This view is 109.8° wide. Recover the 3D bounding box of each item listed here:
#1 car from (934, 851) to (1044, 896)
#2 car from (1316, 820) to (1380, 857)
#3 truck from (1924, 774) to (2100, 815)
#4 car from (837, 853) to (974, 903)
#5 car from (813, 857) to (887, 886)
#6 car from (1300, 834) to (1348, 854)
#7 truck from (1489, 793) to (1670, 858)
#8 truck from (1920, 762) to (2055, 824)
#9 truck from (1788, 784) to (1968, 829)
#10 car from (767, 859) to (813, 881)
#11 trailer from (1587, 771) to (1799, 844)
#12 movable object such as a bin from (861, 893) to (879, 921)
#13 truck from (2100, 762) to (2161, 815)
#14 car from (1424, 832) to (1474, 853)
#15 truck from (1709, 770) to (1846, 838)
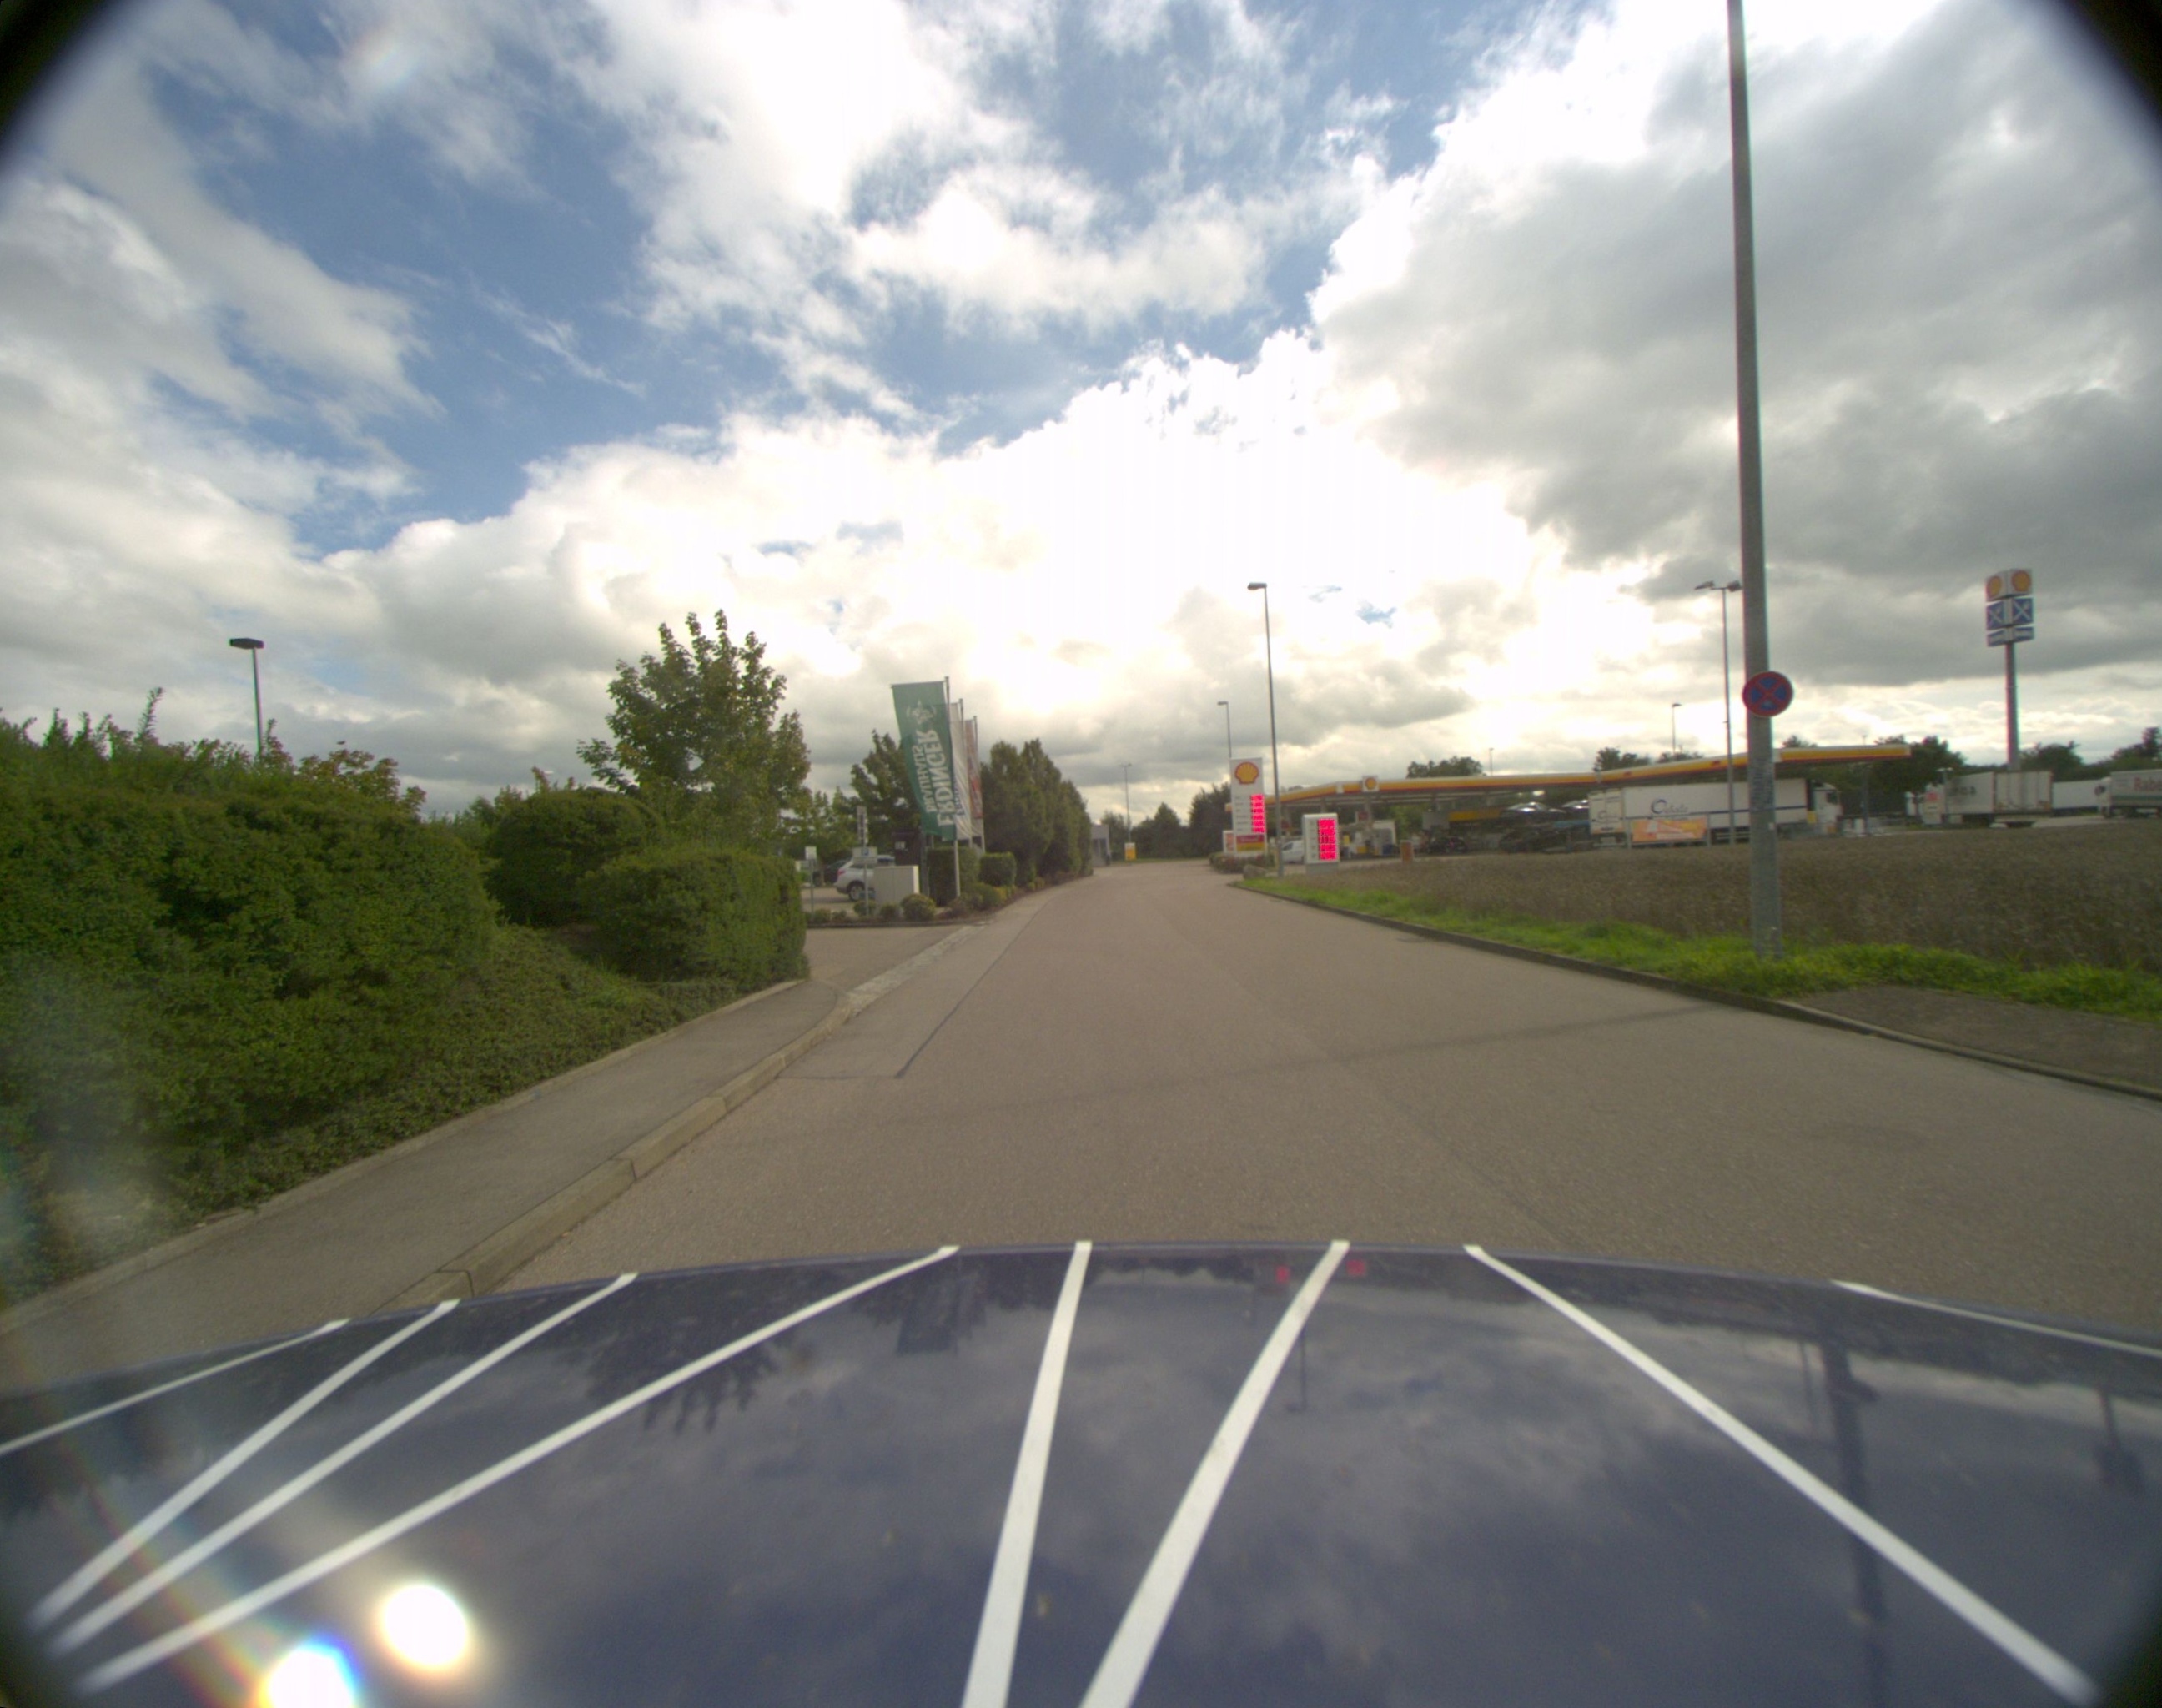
[{"bbox_3d":[-3.951,0.822,32.932,4.358,1.706,1.658,-3,0,8],"label":"car"},{"bbox_3d":[21.726,-1.278,61.794,5.819,2.770,2.219,-3,0,-41],"label":"car"},{"bbox_3d":[108.684,-6.851,89.137,12.774,3.871,2.829,-2,2,35],"label":"truck"},{"bbox_3d":[-6.712,0.908,29.231,4.672,1.687,1.920,-2,1,12],"label":"car"},{"bbox_3d":[-15.501,1.183,51.096,4.358,1.706,1.658,-3,0,8],"label":"car"},{"bbox_3d":[21.042,-0.887,65.765,3.967,1.550,1.995,-3,0,-37],"label":"car"},{"bbox_3d":[35.016,-2.061,53.203,13.266,3.901,2.748,-3,2,-17],"label":"truck"},{"bbox_3d":[68.817,-4.487,58.197,2.955,4.089,14.774,-2,2,35],"label":"truck"},{"bbox_3d":[84.693,-4.947,81.298,12.978,3.871,2.829,-2,2,36],"label":"truck"},{"bbox_3d":[-24.574,1.337,64.341,1.720,1.605,4.002,-3,0,9],"label":"car"},{"bbox_3d":[39.335,-2.962,48.875,12.848,4.001,2.710,-3,0,-10],"label":"trailer"},{"bbox_3d":[-5.461,1.376,19.688,0.288,0.680,0.368,-3,1,12],"label":"movable object such as a bin"},{"bbox_3d":[89.372,-5.431,63.006,2.986,4.086,11.596,-3,0,40],"label":"truck"},{"bbox_3d":[30.869,-0.959,63.834,1.717,1.592,3.757,-3,0,-13],"label":"car"},{"bbox_3d":[45.725,-3.255,49.949,7.169,4.001,2.710,-3,0,-10],"label":"truck"}]
